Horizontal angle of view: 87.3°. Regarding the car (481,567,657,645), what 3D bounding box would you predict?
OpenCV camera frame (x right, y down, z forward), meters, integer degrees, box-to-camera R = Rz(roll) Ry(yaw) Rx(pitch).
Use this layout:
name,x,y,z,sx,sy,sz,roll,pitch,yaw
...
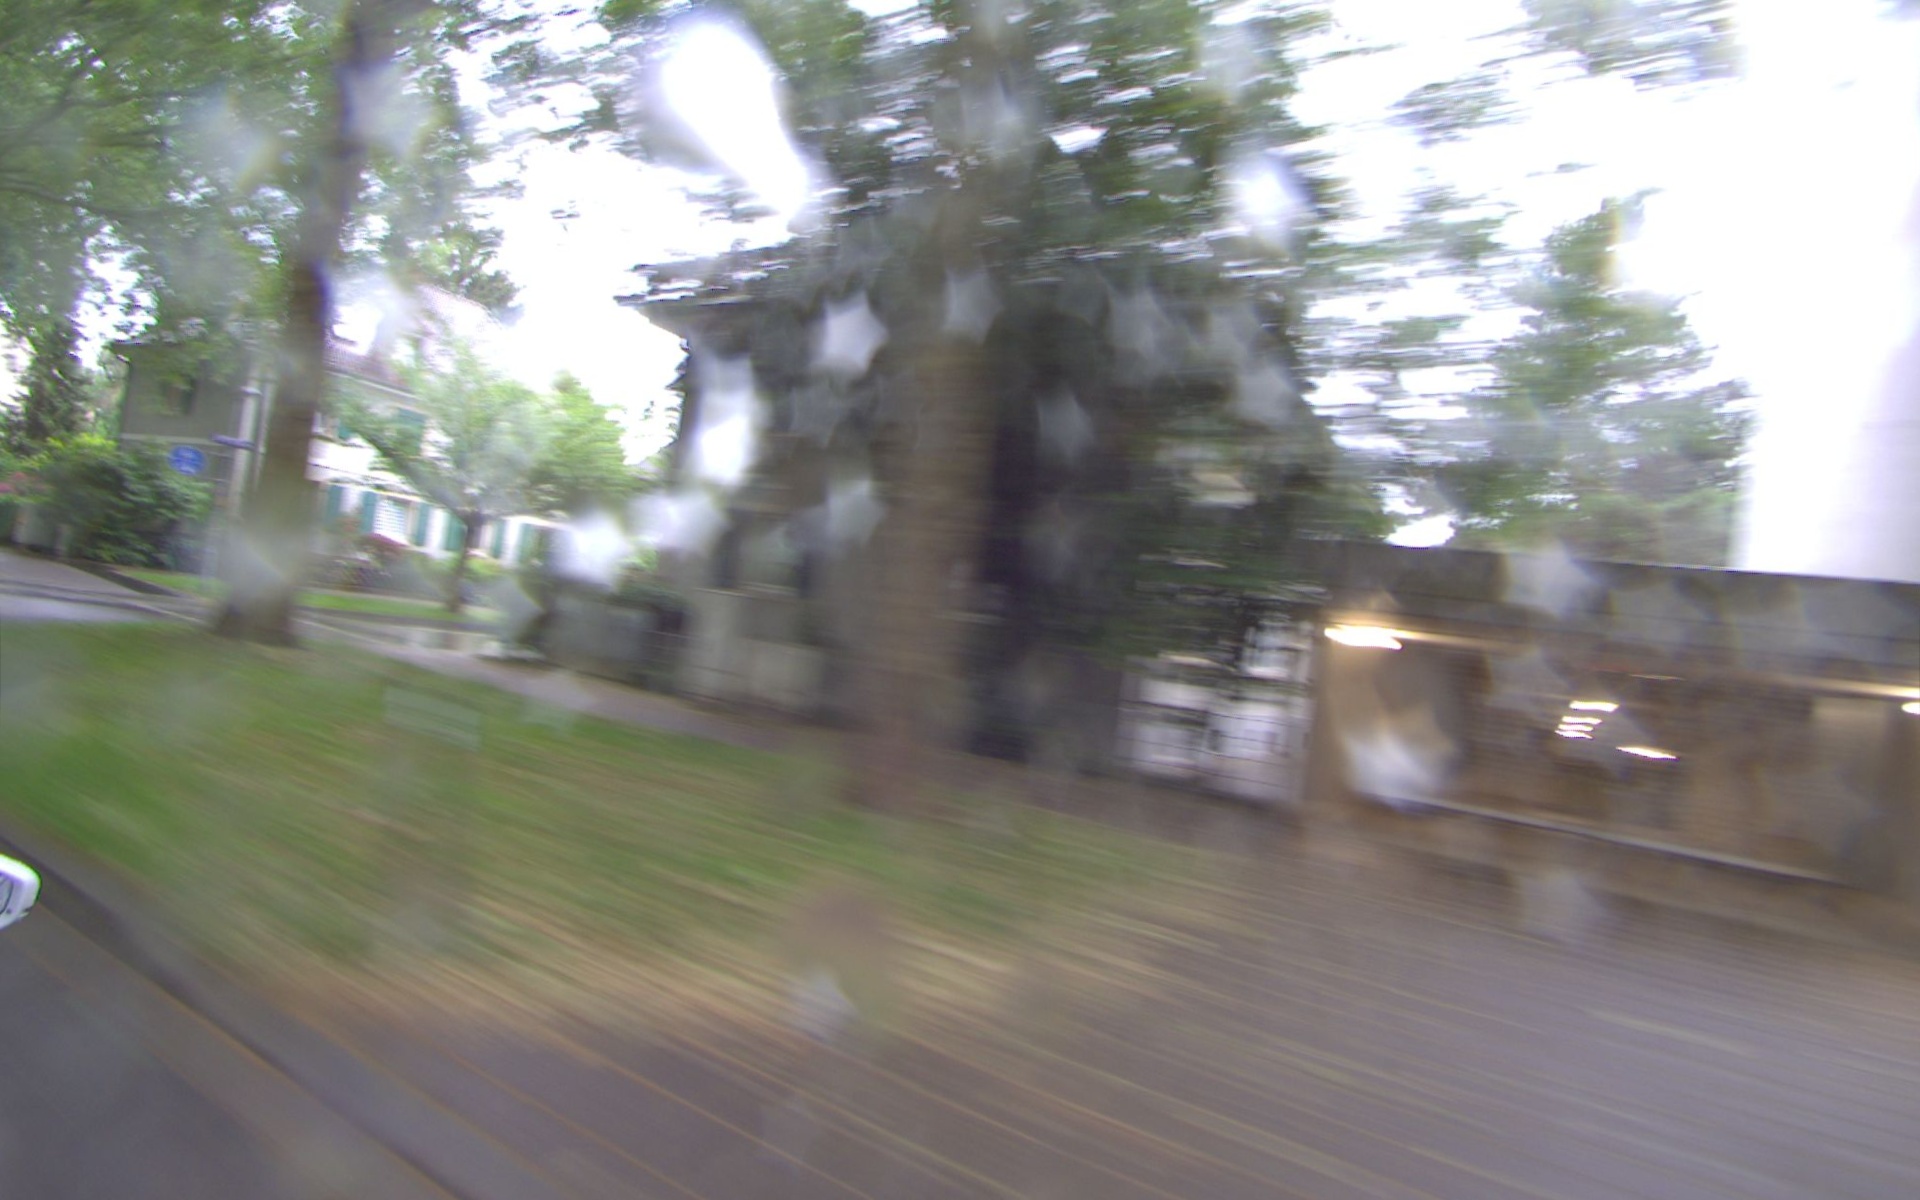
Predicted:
name,x,y,z,sx,sy,sz,roll,pitch,yaw
car,-11.325,0.226,29.468,1.953,1.537,4.417,8,-3,31
